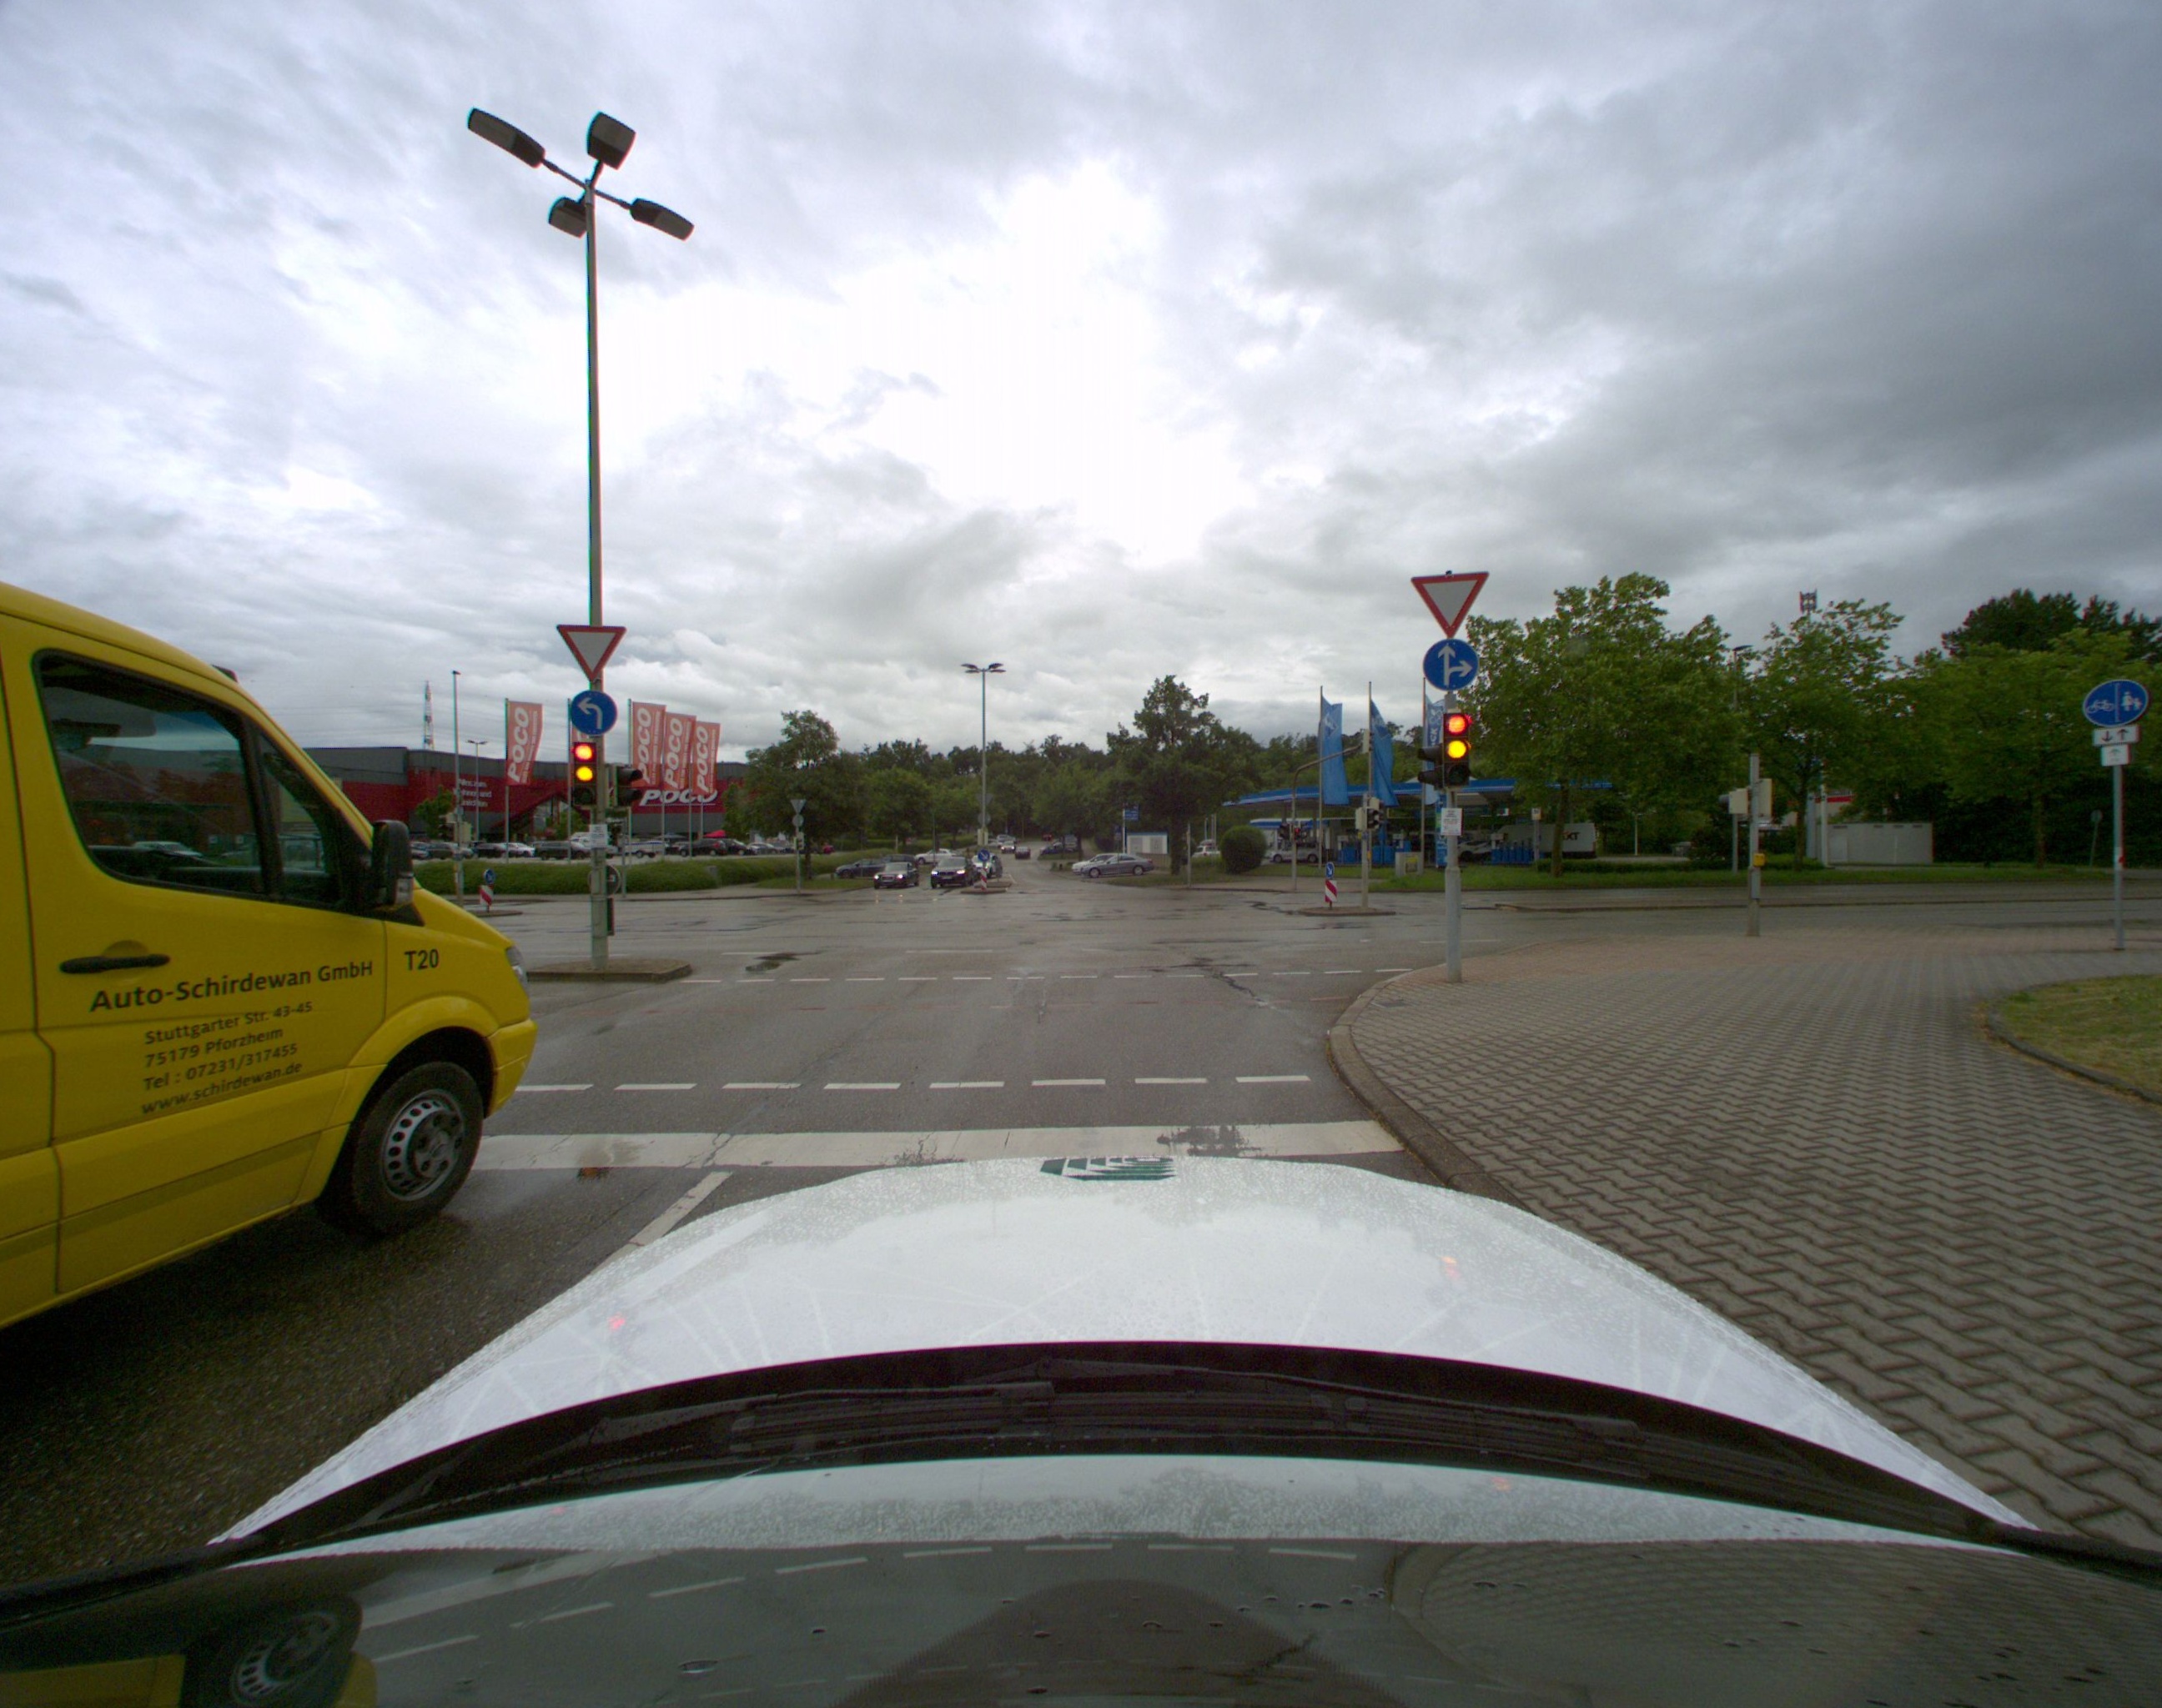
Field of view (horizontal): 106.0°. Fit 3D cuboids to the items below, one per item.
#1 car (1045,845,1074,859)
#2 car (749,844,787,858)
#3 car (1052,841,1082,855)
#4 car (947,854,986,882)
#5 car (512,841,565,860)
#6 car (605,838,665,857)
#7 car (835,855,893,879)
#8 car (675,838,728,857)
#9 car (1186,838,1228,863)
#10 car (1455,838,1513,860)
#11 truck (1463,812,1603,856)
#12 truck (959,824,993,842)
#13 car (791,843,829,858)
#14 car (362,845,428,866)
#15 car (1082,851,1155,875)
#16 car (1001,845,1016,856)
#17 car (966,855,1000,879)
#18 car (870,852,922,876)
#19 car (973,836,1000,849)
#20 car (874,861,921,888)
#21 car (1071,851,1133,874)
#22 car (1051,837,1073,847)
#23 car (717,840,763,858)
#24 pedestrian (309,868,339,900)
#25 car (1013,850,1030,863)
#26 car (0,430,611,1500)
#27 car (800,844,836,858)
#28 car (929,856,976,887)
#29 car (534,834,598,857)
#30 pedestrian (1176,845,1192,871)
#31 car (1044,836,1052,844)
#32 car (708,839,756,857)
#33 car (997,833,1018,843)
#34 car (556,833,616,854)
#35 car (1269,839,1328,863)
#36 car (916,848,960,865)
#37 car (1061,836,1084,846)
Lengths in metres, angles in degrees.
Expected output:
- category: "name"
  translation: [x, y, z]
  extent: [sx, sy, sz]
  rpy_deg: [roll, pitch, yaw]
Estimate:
- category: "car"
  translation: [-2.590, -0.233, 98.065]
  extent: [3.452, 1.654, 1.614]
  rpy_deg: [0, -1, -3]
- category: "car"
  translation: [-37.071, -0.343, 96.467]
  extent: [3.798, 1.645, 1.674]
  rpy_deg: [-1, -1, 3]
- category: "car"
  translation: [-1.822, -0.717, 104.563]
  extent: [3.690, 1.750, 1.695]
  rpy_deg: [0, -1, -4]
- category: "car"
  translation: [-6.950, 0.854, 49.809]
  extent: [1.791, 1.633, 4.548]
  rpy_deg: [-1, -1, -2]
- category: "car"
  translation: [-51.764, -0.324, 77.728]
  extent: [3.933, 1.645, 1.674]
  rpy_deg: [-1, -1, 3]
- category: "car"
  translation: [-35.424, -0.518, 64.701]
  extent: [3.880, 1.381, 1.674]
  rpy_deg: [-1, -1, 3]
- category: "car"
  translation: [-15.136, 0.915, 56.864]
  extent: [3.643, 1.553, 1.682]
  rpy_deg: [-1, -1, -5]
- category: "car"
  translation: [-33.456, -0.567, 71.823]
  extent: [3.798, 1.645, 1.674]
  rpy_deg: [-1, -1, 3]
- category: "car"
  translation: [9.296, -0.222, 60.333]
  extent: [1.811, 1.797, 3.681]
  rpy_deg: [0, -1, -15]
- category: "car"
  translation: [28.944, -0.375, 58.476]
  extent: [3.517, 1.582, 1.700]
  rpy_deg: [1, 0, 33]
- category: "truck"
  translation: [29.126, -1.255, 52.818]
  extent: [7.774, 2.675, 2.168]
  rpy_deg: [0, 1, 27]
- category: "truck"
  translation: [-24.668, -4.931, 190.944]
  extent: [7.328, 3.861, 2.783]
  rpy_deg: [-1, -1, 6]
- category: "car"
  translation: [-31.967, -0.381, 96.084]
  extent: [3.798, 1.645, 1.674]
  rpy_deg: [-1, -1, 3]
- category: "car"
  translation: [-55.206, 0.131, 65.536]
  extent: [3.933, 1.645, 1.674]
  rpy_deg: [-1, -1, 3]
- category: "car"
  translation: [2.577, 0.618, 56.577]
  extent: [4.878, 1.549, 1.996]
  rpy_deg: [-1, -1, -5]
- category: "car"
  translation: [-10.192, -0.461, 114.610]
  extent: [1.691, 1.456, 3.674]
  rpy_deg: [-1, -1, 1]
- category: "car"
  translation: [-6.673, 0.847, 56.010]
  extent: [1.890, 1.553, 3.998]
  rpy_deg: [-1, 0, -1]
- category: "car"
  translation: [-14.167, 0.752, 62.549]
  extent: [3.643, 1.724, 1.682]
  rpy_deg: [-1, -1, -5]
- category: "car"
  translation: [-14.613, -1.757, 126.399]
  extent: [3.980, 1.794, 1.853]
  rpy_deg: [-1, -1, -5]
- category: "car"
  translation: [-10.239, 1.129, 45.659]
  extent: [1.778, 1.404, 3.998]
  rpy_deg: [-1, 0, -1]
- category: "car"
  translation: [1.565, 0.650, 61.858]
  extent: [4.565, 1.589, 1.926]
  rpy_deg: [-1, -1, -5]
- category: "car"
  translation: [-3.591, -2.229, 152.112]
  extent: [3.979, 1.739, 1.808]
  rpy_deg: [-1, -1, -4]
- category: "car"
  translation: [-33.299, -0.505, 79.538]
  extent: [3.798, 1.645, 1.674]
  rpy_deg: [-1, -1, 3]
- category: "pedestrian"
  translation: [-34.347, 1.371, 36.955]
  extent: [0.637, 1.431, 0.781]
  rpy_deg: [-1, -1, -1]
- category: "car"
  translation: [-7.087, 0.312, 97.324]
  extent: [1.803, 1.482, 3.747]
  rpy_deg: [-1, 0, -3]
- category: "car"
  translation: [-3.618, 0.268, 1.787]
  extent: [2.232, 2.474, 5.014]
  rpy_deg: [-1, -1, 0]
- category: "car"
  translation: [-31.930, -0.358, 98.871]
  extent: [3.798, 1.645, 1.674]
  rpy_deg: [-1, -1, 3]
- category: "car"
  translation: [-6.941, 0.934, 44.315]
  extent: [1.890, 1.553, 4.589]
  rpy_deg: [-1, 0, -1]
- category: "car"
  translation: [-39.062, -0.607, 61.825]
  extent: [3.798, 1.645, 1.674]
  rpy_deg: [-1, -1, 3]
- category: "pedestrian"
  translation: [6.855, 0.259, 54.041]
  extent: [0.808, 1.661, 0.883]
  rpy_deg: [-1, -1, -10]
- category: "car"
  translation: [-7.515, -3.076, 183.734]
  extent: [1.800, 1.739, 3.996]
  rpy_deg: [-1, 0, -3]
- category: "car"
  translation: [-32.887, -0.531, 76.810]
  extent: [3.798, 1.645, 1.674]
  rpy_deg: [-1, -1, 3]
- category: "car"
  translation: [-14.168, -3.045, 157.223]
  extent: [3.974, 1.794, 1.856]
  rpy_deg: [-1, -1, 0]
- category: "car"
  translation: [-39.342, -0.822, 64.798]
  extent: [3.798, 1.645, 1.634]
  rpy_deg: [-1, -1, 3]
- category: "car"
  translation: [17.287, -0.194, 64.781]
  extent: [4.075, 1.808, 1.958]
  rpy_deg: [-1, -1, 32]
- category: "car"
  translation: [-14.701, 0.287, 83.753]
  extent: [4.260, 1.609, 1.684]
  rpy_deg: [-1, -1, -2]
- category: "car"
  translation: [-1.580, -2.311, 144.631]
  extent: [3.979, 1.739, 1.808]
  rpy_deg: [-1, -1, -4]
